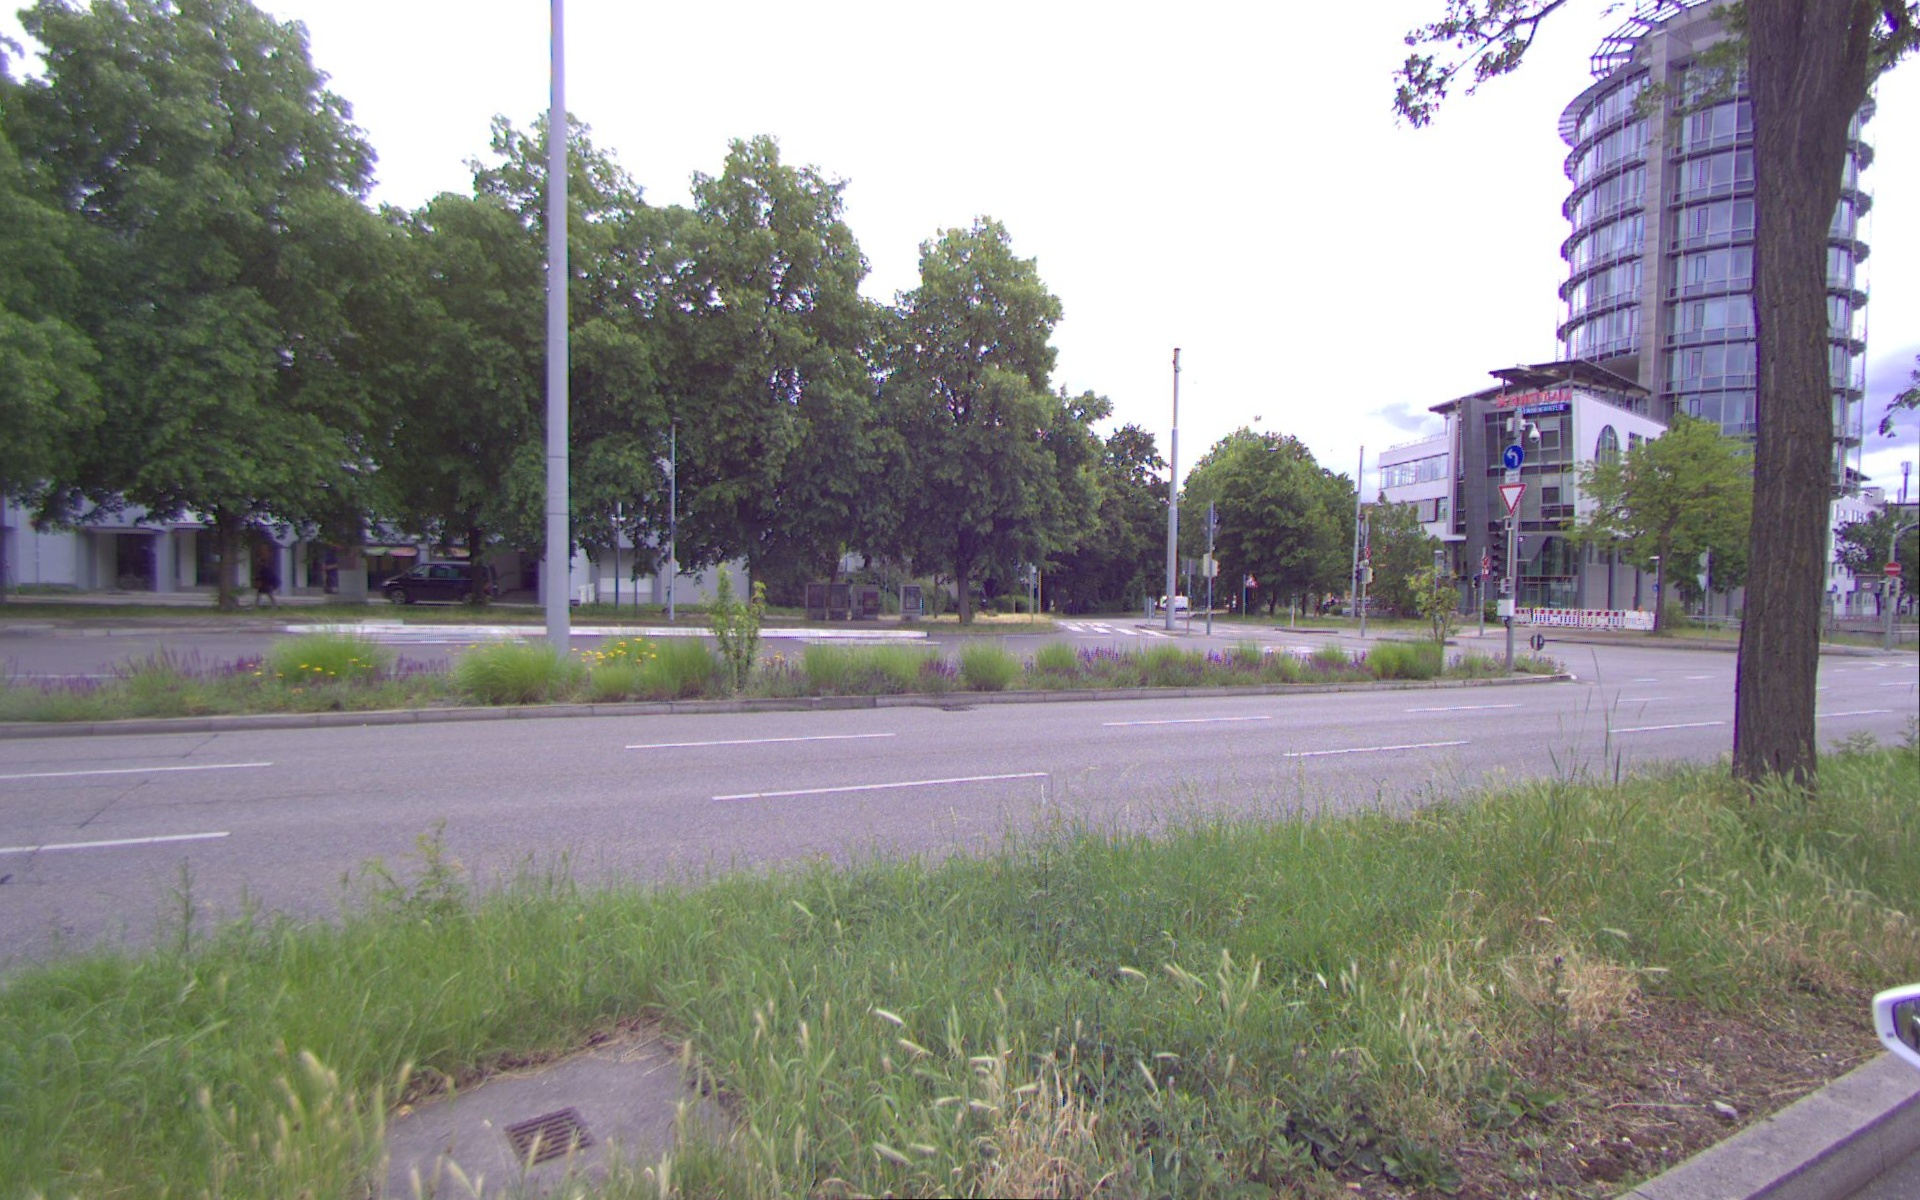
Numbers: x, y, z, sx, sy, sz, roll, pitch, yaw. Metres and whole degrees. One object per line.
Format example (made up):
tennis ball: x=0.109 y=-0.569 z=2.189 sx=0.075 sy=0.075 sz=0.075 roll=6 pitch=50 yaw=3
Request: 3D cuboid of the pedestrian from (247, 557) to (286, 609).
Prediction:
pedestrian: x=-21.489 y=-0.521 z=31.140 sx=0.894 sy=1.578 sz=0.766 roll=1 pitch=1 yaw=-30

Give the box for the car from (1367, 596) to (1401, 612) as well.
car: x=25.044 y=0.231 z=59.395 sx=1.684 sy=0.888 sz=0.776 roll=1 pitch=0 yaw=7

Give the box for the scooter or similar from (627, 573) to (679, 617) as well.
scooter or similar: x=-11.870 y=-0.187 z=38.858 sx=1.835 sy=1.686 sz=0.645 roll=1 pitch=1 yaw=-43

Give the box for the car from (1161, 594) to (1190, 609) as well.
car: x=37.747 y=0.249 z=175.674 sx=4.475 sy=2.370 sz=1.994 roll=2 pitch=0 yaw=-16

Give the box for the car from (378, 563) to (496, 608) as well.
car: x=-23.316 y=-0.642 z=44.958 sx=4.345 sy=1.872 sz=1.781 roll=1 pitch=1 yaw=-16
